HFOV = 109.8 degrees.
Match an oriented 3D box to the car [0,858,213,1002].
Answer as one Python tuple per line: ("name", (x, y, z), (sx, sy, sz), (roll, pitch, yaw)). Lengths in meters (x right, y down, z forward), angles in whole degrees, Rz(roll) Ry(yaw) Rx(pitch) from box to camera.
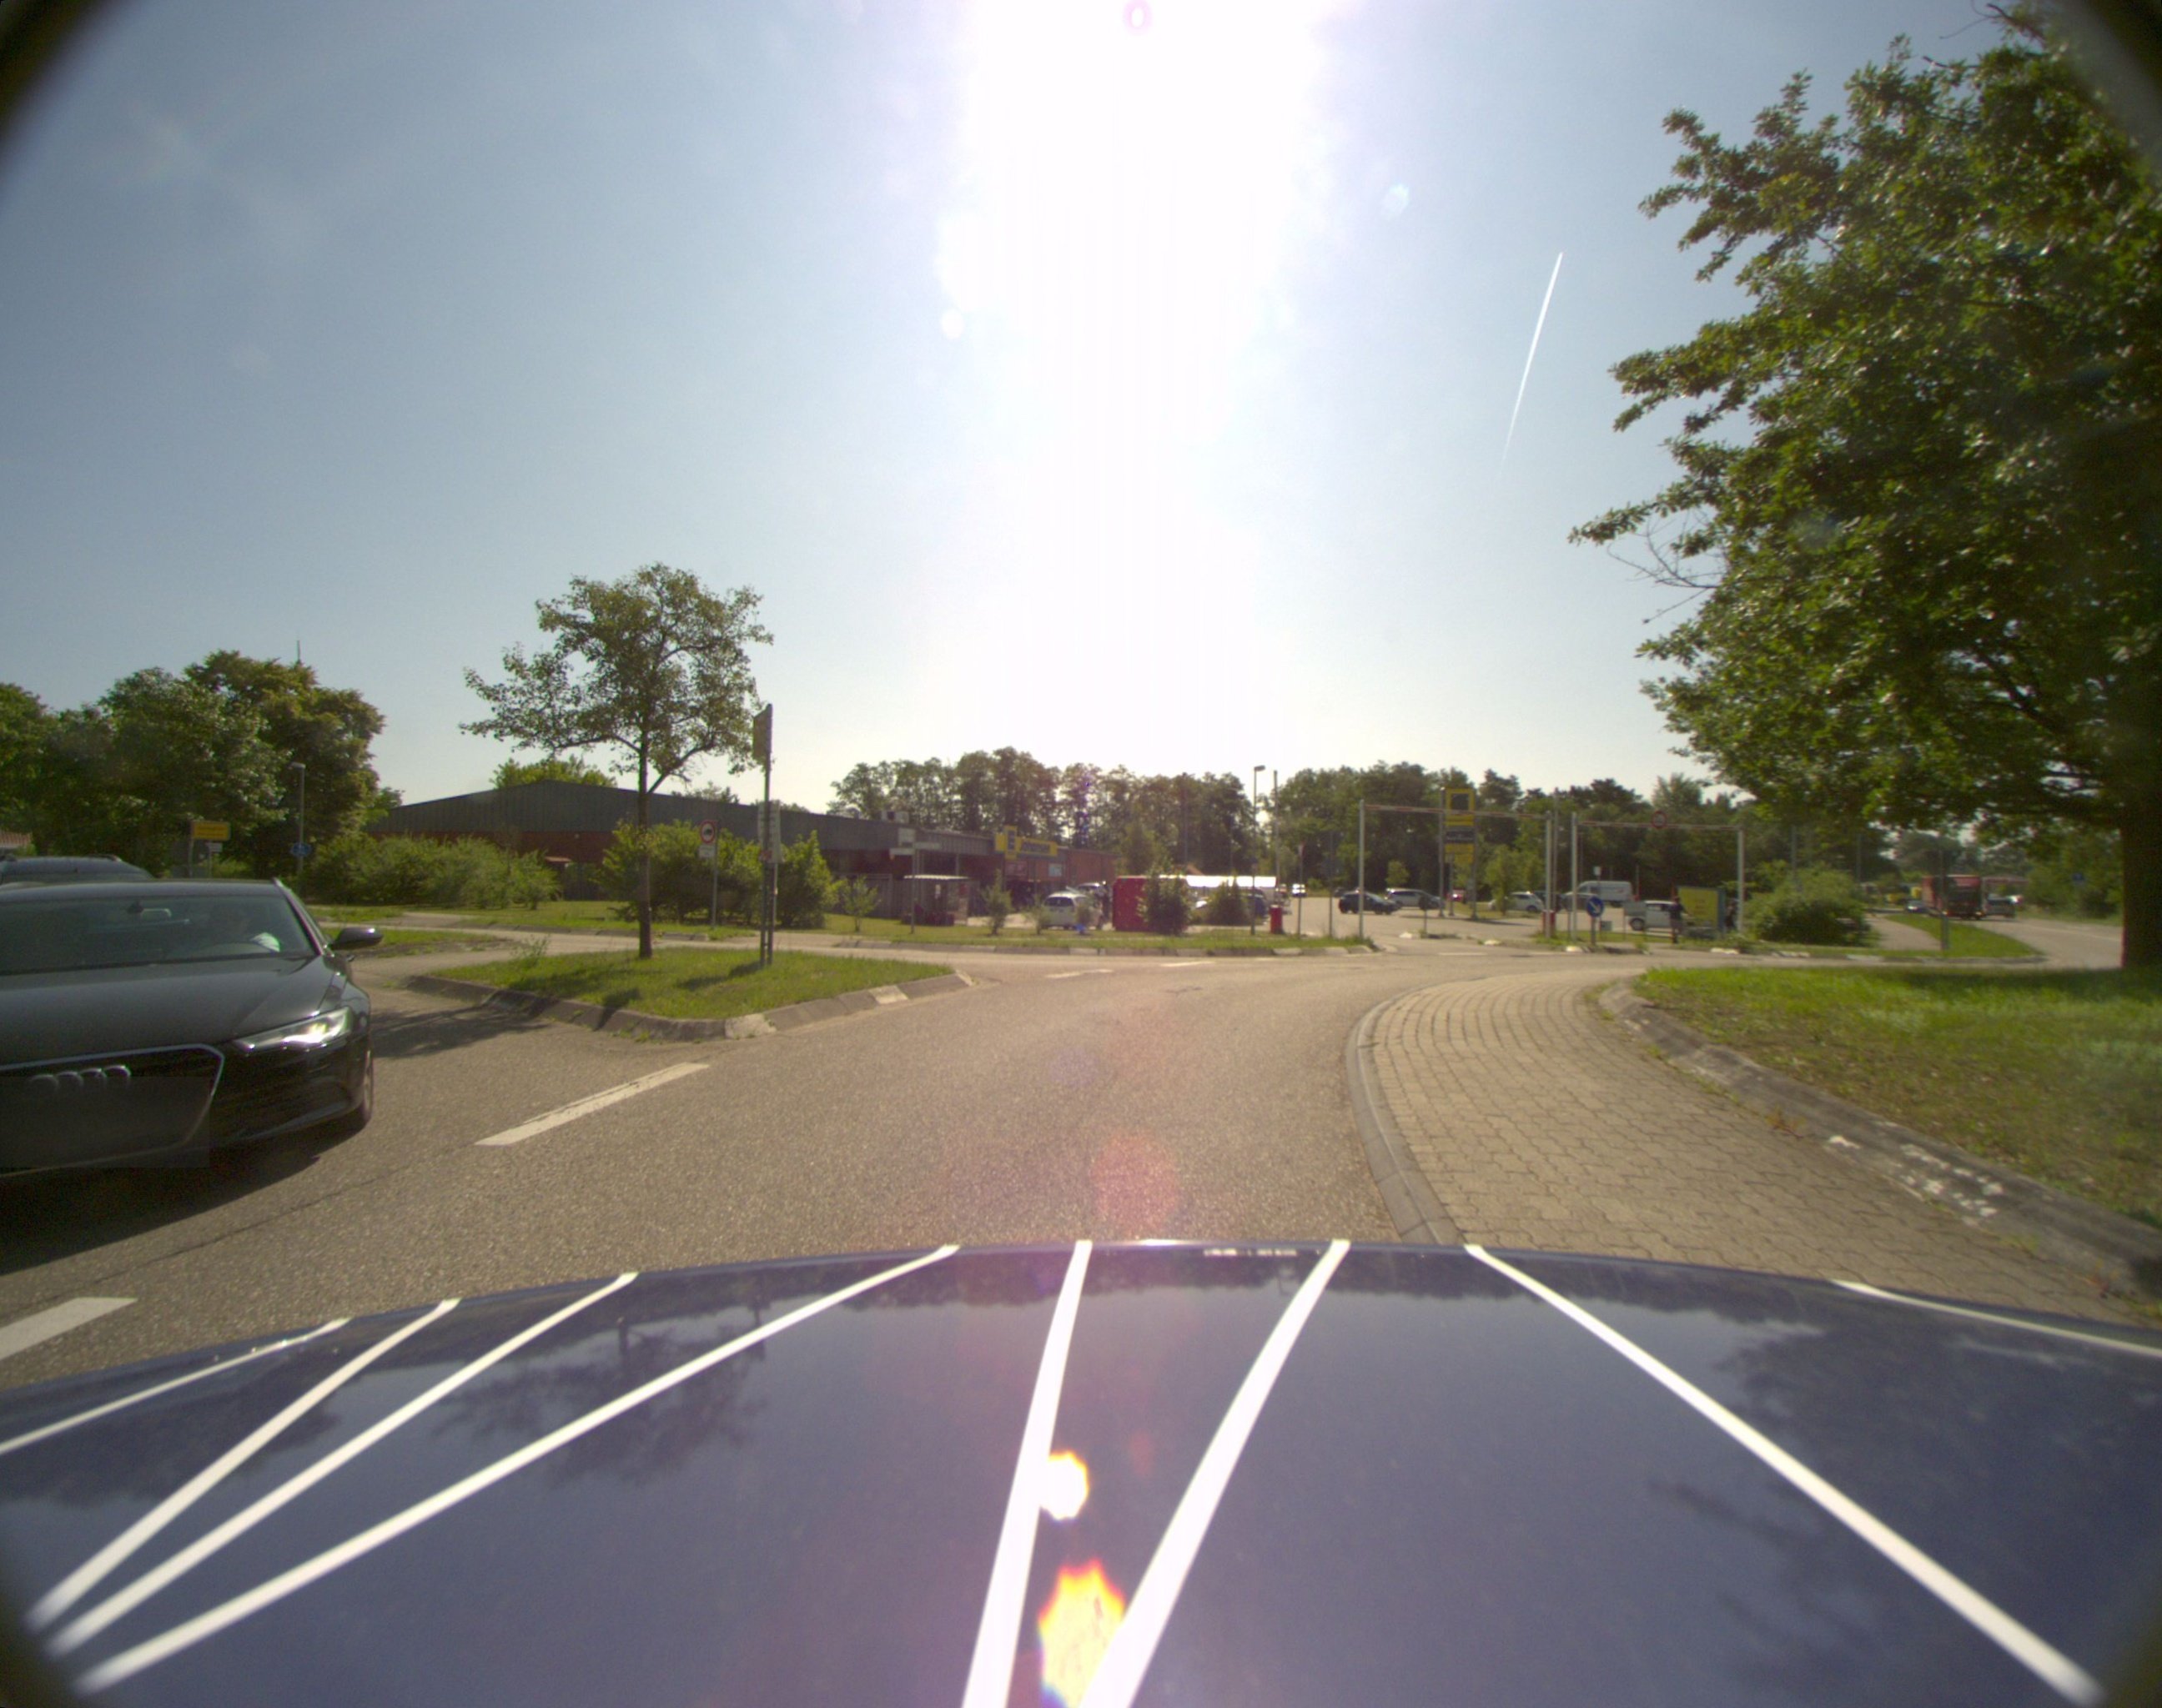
("car", (-14.298, 0.905, 10.658), (4.643, 1.631, 1.819), (0, 2, 29))

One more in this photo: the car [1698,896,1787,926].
("car", (41.729, 3.565, 47.990), (1.756, 1.617, 4.120), (3, -2, -44))

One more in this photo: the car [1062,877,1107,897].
("car", (0.394, 3.242, 74.536), (3.992, 1.804, 2.003), (1, -1, 13))

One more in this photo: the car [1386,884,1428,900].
("car", (33.904, 3.972, 79.171), (3.990, 1.575, 1.974), (0, -2, 22))

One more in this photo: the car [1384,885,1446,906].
("car", (28.056, 3.520, 63.930), (4.551, 1.691, 2.003), (-2, -2, 17))

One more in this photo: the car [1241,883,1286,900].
("car", (18.054, 3.687, 75.087), (3.990, 1.651, 2.004), (0, -2, 23))

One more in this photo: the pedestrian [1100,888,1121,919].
("pedestrian", (1.540, 2.599, 39.879), (0.815, 1.609, 0.925), (2, -2, -20))

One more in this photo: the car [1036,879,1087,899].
("car", (-1.666, 3.003, 65.263), (3.992, 1.673, 2.003), (0, -2, 13))

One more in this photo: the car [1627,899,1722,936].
("car", (29.615, 3.133, 37.965), (3.595, 1.552, 1.818), (1, -1, 43))

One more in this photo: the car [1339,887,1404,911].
("car", (20.681, 3.179, 54.149), (3.988, 1.578, 1.665), (-1, -2, 42))

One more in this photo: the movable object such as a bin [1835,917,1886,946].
("movable object such as a bin", (31.448, 3.121, 30.669), (1.456, 1.113, 0.869), (1, -2, -18))

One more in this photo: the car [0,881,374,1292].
("car", (-5.948, 0.972, 4.592), (4.898, 1.426, 1.927), (0, 1, 41))

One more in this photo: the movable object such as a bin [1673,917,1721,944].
("movable object such as a bin", (23.359, 2.879, 28.820), (1.205, 0.949, 0.879), (2, -2, -18))

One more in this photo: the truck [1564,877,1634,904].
("truck", (52.586, 3.666, 77.162), (5.600, 2.589, 2.208), (0, -1, 43))

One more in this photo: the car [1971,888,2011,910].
("car", (82.628, 4.053, 69.058), (1.894, 1.805, 4.607), (0, -2, 44))

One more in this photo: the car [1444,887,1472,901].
("car", (43.877, 4.596, 88.425), (1.996, 1.456, 4.501), (1, -1, 14))

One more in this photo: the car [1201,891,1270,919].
("car", (8.732, 2.855, 42.891), (3.483, 1.448, 1.720), (0, -2, 24))

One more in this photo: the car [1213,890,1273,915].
("car", (10.459, 3.088, 48.940), (3.483, 1.488, 1.720), (0, -2, 24))

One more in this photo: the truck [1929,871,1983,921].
("truck", (72.692, 3.439, 63.208), (5.965, 3.891, 2.714), (3, -2, -43))

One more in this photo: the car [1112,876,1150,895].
("car", (5.720, 3.562, 86.808), (3.991, 2.001, 2.003), (0, -1, 18))

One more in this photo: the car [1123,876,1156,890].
("car", (7.350, 3.575, 95.294), (3.764, 1.630, 1.785), (1, -1, 19))

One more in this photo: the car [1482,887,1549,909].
("car", (31.981, 3.227, 55.971), (3.988, 1.433, 1.655), (0, -2, 44))

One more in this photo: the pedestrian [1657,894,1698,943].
("pedestrian", (22.381, 2.403, 28.531), (0.843, 1.774, 0.879), (1, -2, -18))

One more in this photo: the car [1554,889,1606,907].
("car", (45.445, 3.980, 69.215), (3.963, 1.444, 1.909), (0, -2, 34))

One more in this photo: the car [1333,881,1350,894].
("car", (36.010, 4.564, 105.094), (2.067, 1.700, 4.007), (1, -2, 18))

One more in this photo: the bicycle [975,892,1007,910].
("bicycle", (-5.411, 2.820, 45.661), (2.070, 1.035, 0.555), (0, -2, 35))

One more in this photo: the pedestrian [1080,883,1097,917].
("pedestrian", (0.434, 2.534, 42.384), (0.840, 1.859, 0.774), (1, -2, -5))

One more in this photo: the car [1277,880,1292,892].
("car", (28.552, 4.440, 106.573), (1.792, 1.586, 4.267), (1, -1, 17))

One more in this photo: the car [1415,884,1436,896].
("car", (46.305, 4.843, 102.135), (2.067, 1.477, 4.007), (1, -2, 18))

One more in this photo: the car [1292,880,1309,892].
("car", (30.696, 4.450, 106.044), (2.067, 1.700, 4.007), (1, -2, 18))

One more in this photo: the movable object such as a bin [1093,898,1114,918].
("movable object such as a bin", (1.209, 2.889, 40.795), (0.769, 1.040, 1.039), (1, -2, -20))

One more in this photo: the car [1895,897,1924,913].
("car", (87.249, 5.324, 80.046), (1.821, 1.597, 3.538), (0, -2, 45))

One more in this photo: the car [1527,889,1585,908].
("car", (39.592, 3.660, 63.351), (3.988, 1.418, 1.753), (0, -2, 37))

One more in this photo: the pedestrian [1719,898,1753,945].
("pedestrian", (23.446, 2.402, 27.192), (0.597, 1.638, 0.703), (1, -2, -13))

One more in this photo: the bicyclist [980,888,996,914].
("bicyclist", (-5.619, 2.819, 45.816), (0.675, 1.505, 0.609), (0, -2, 35))

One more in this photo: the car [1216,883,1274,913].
("car", (11.117, 2.955, 51.362), (3.483, 1.917, 1.883), (0, -2, 24))

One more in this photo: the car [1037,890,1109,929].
("car", (-0.252, 2.271, 31.529), (1.722, 1.437, 3.779), (1, -3, 20))

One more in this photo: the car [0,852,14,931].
("car", (-27.631, 0.830, 17.957), (5.187, 1.805, 2.004), (0, -1, 27))

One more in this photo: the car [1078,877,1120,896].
("car", (1.866, 3.370, 79.294), (3.992, 1.804, 2.003), (1, -1, 13))

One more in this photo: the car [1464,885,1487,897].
("car", (51.862, 4.811, 99.986), (2.067, 1.477, 4.007), (1, -2, 18))

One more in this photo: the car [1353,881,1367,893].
("car", (38.211, 4.508, 104.176), (1.659, 1.477, 4.380), (1, -1, 18))

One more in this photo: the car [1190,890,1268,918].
("car", (9.005, 2.981, 46.157), (4.417, 1.561, 1.719), (0, -2, 21))
